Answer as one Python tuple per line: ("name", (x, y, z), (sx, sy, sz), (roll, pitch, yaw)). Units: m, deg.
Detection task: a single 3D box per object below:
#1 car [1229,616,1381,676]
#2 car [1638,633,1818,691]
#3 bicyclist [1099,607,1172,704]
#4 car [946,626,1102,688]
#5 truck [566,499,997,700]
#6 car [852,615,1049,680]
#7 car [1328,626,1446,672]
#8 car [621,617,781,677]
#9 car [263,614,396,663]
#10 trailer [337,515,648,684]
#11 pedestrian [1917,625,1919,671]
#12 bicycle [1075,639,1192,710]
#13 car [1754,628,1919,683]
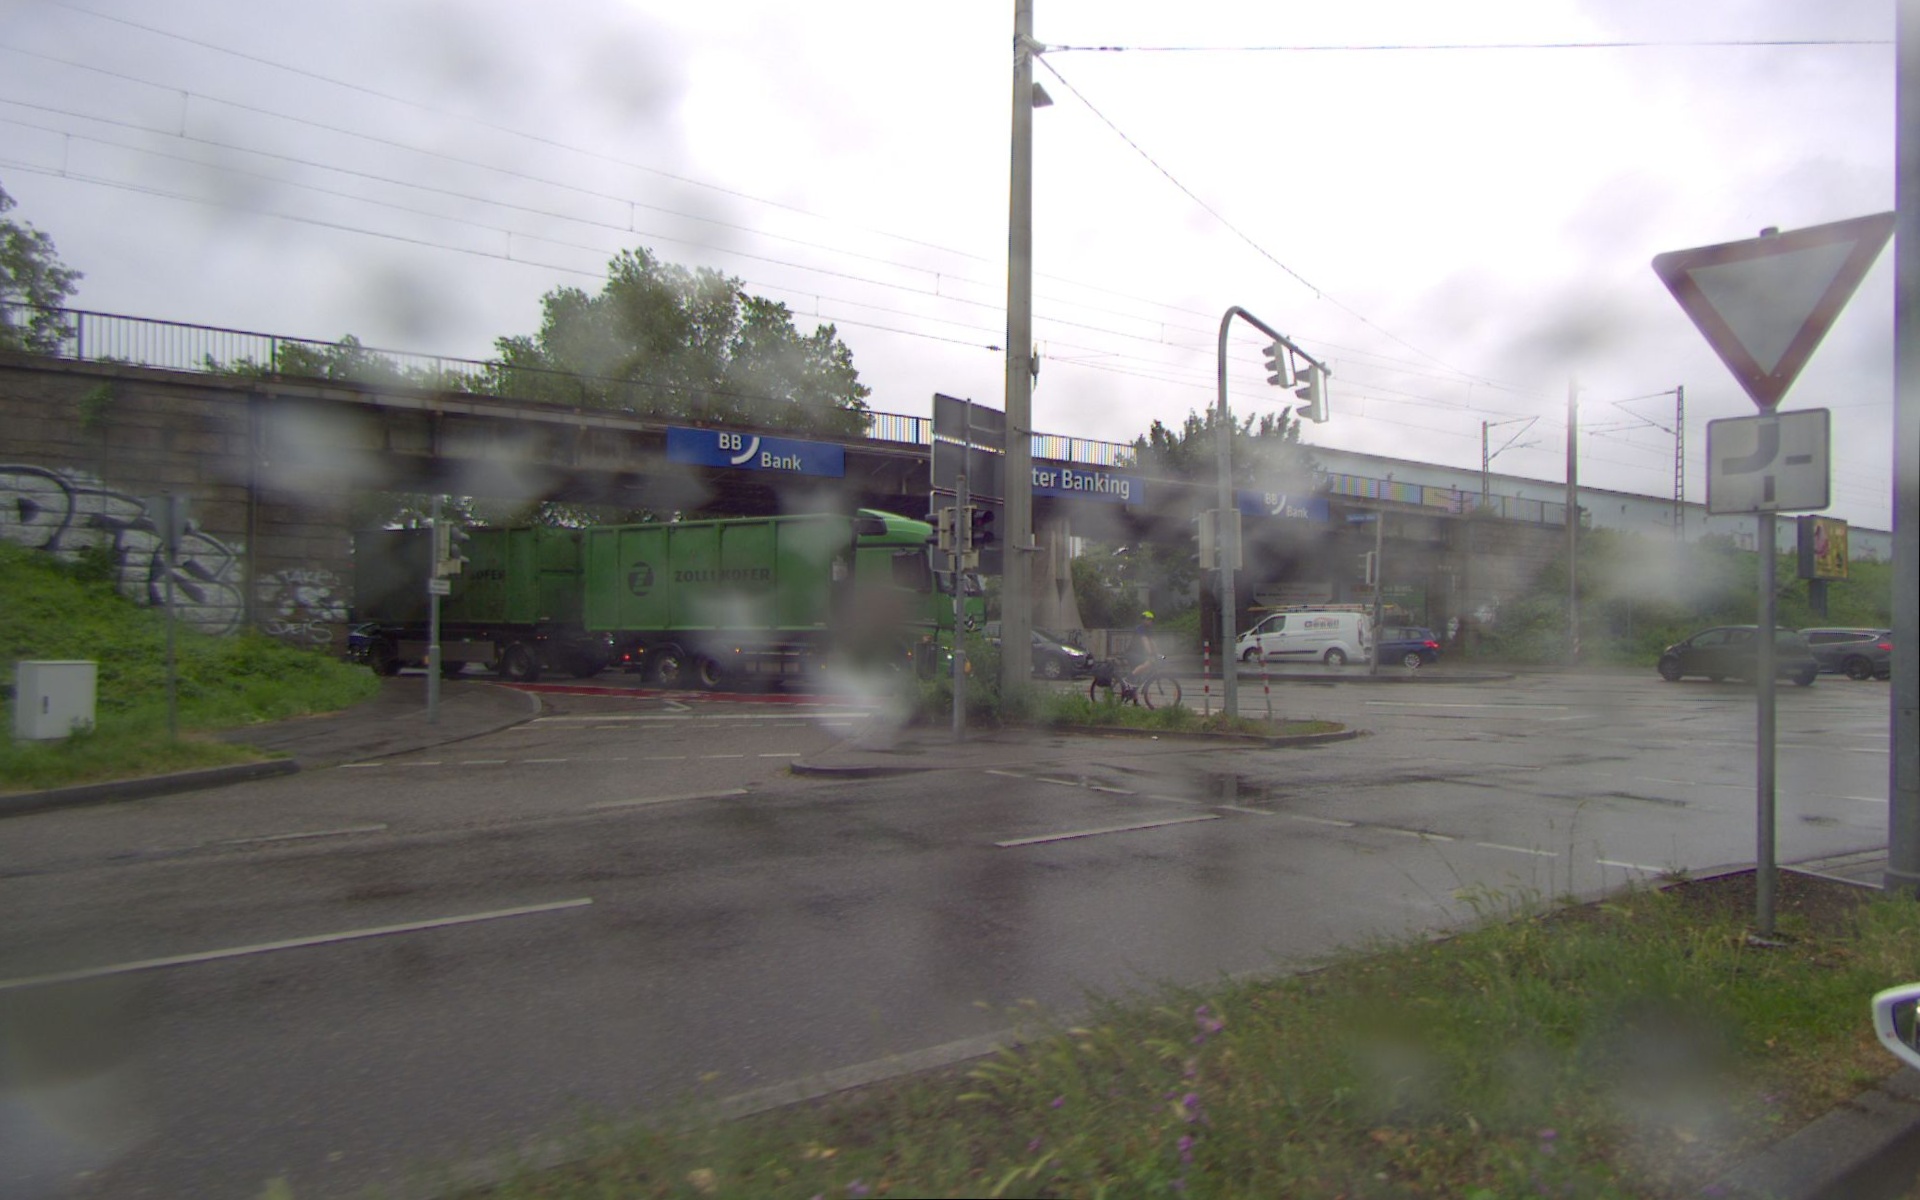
("car", (12.276, 1.614, 35.937), (4.747, 1.981, 1.991), (-2, -2, 39))
("car", (19.559, 1.537, 25.747), (1.557, 1.323, 3.448), (0, -1, -15))
("bicyclist", (3.069, 0.949, 17.555), (1.028, 1.614, 0.804), (2, 0, 28))
("car", (1.740, 1.501, 27.292), (3.922, 1.566, 1.660), (0, -1, 20))
("truck", (-4.287, 0.037, 23.217), (9.999, 4.001, 2.686), (0, -1, 24))
("car", (-0.258, 1.135, 24.918), (4.597, 1.505, 1.744), (-1, -2, 26))
("car", (16.167, 1.819, 38.037), (3.875, 1.640, 1.996), (-1, -2, 31))
("car", (-7.263, 1.284, 28.218), (3.923, 1.595, 1.999), (0, -2, 23))
("car", (-21.786, 1.306, 34.749), (3.923, 1.595, 1.999), (0, -2, 23))
("trailer", (-12.612, 0.018, 26.954), (8.358, 4.039, 2.688), (0, -1, 24))
("pedestrian", (37.448, 1.848, 38.505), (0.813, 1.742, 0.994), (1, -1, -39))
("bicycle", (3.030, 1.278, 17.571), (1.878, 1.109, 0.694), (1, 0, 28))
("car", (25.394, 1.559, 29.161), (1.550, 1.493, 3.329), (1, -1, -30))
